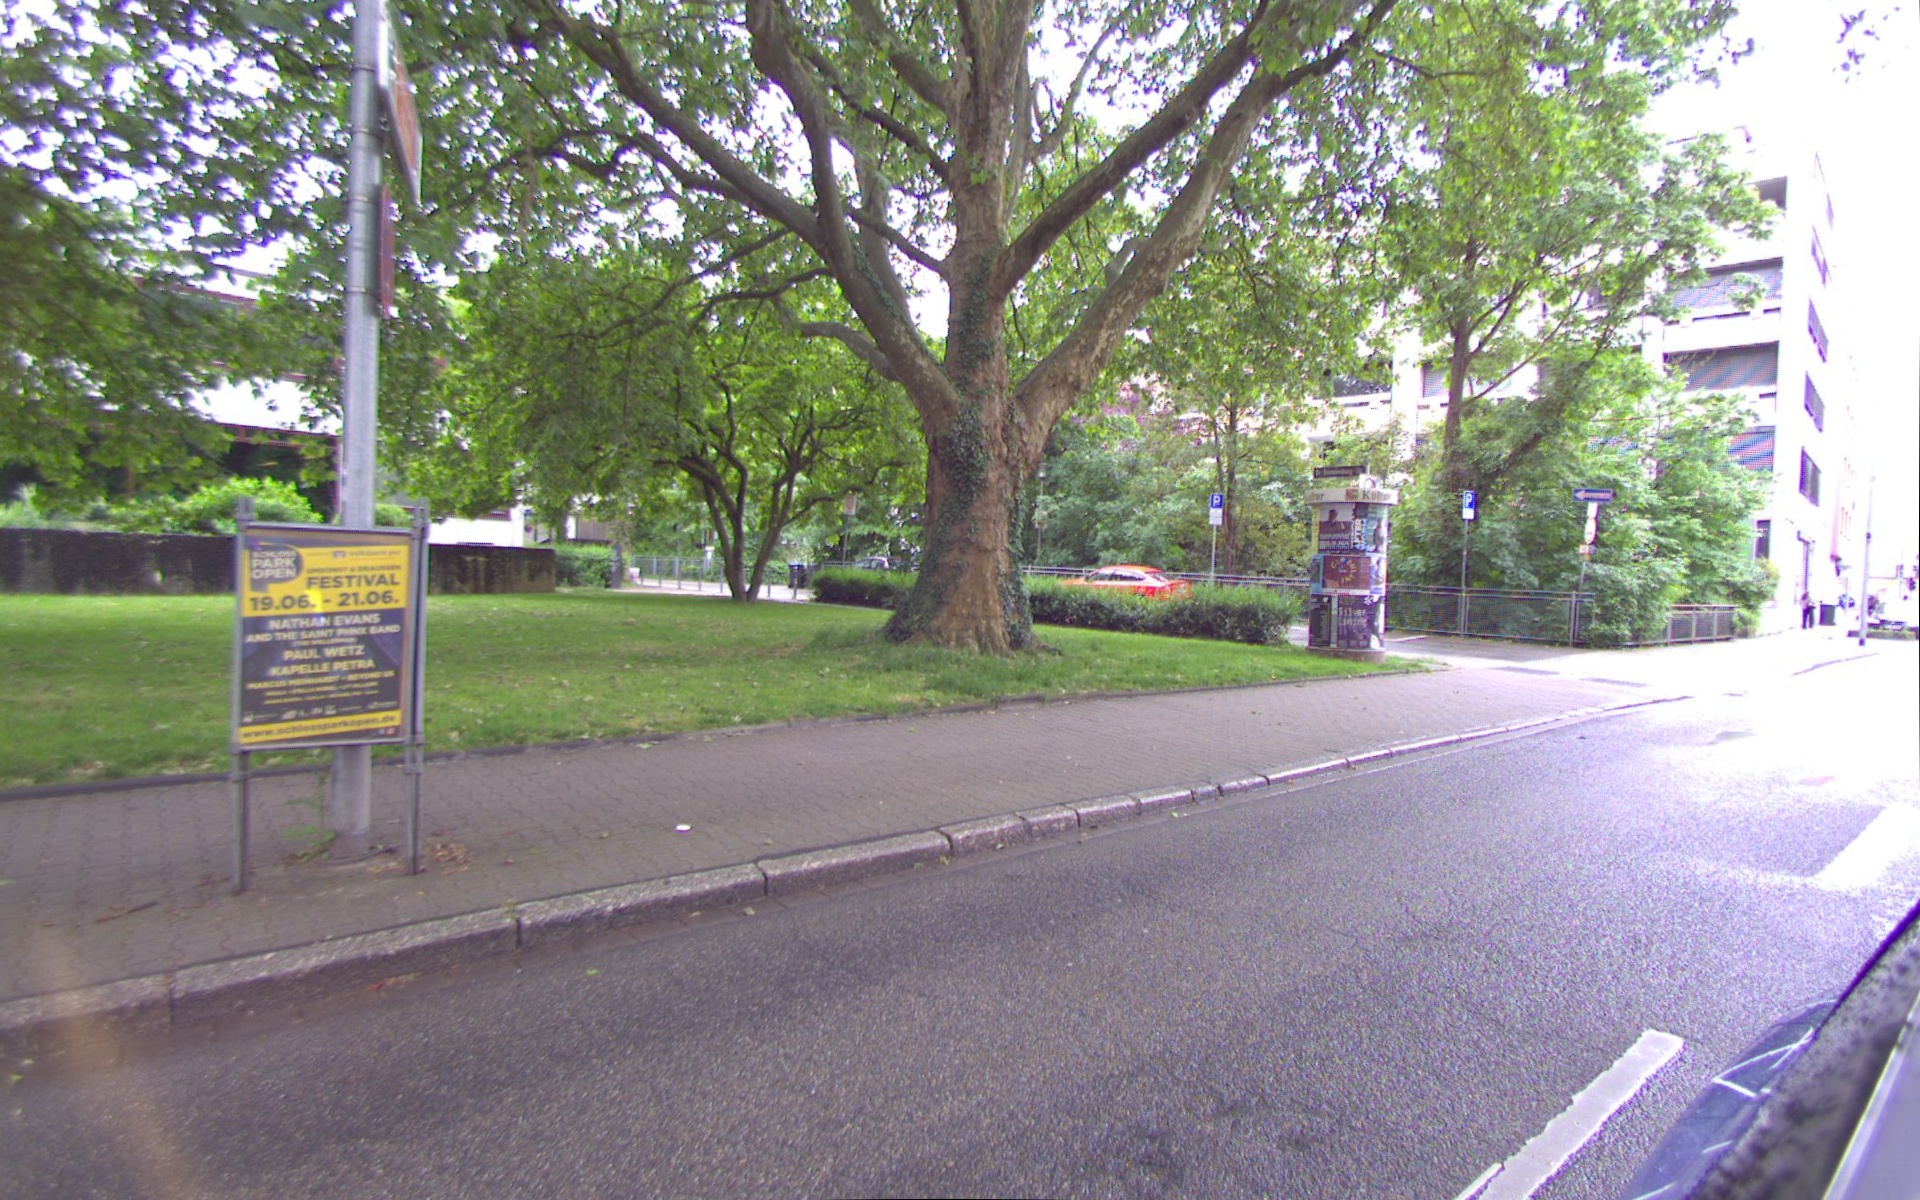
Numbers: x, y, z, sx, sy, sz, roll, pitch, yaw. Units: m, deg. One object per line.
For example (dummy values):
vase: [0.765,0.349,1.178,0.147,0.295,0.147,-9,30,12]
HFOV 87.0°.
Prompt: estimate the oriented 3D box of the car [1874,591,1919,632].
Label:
car: [37.400,0.449,39.742,3.617,1.449,1.681,0,6,-41]

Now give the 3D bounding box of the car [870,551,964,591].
car: [-1.602,-1.067,36.678,3.460,1.294,1.426,5,4,45]

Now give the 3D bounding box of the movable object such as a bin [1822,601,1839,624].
movable object such as a bin: [41.906,0.614,48.716,0.287,1.054,0.556,0,3,-41]

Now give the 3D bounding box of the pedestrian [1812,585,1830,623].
pedestrian: [35.175,0.172,41.356,0.473,1.549,0.480,0,0,-41]

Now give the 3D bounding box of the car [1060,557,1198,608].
car: [4.879,-0.548,29.538,1.551,1.294,3.784,-1,4,-44]
